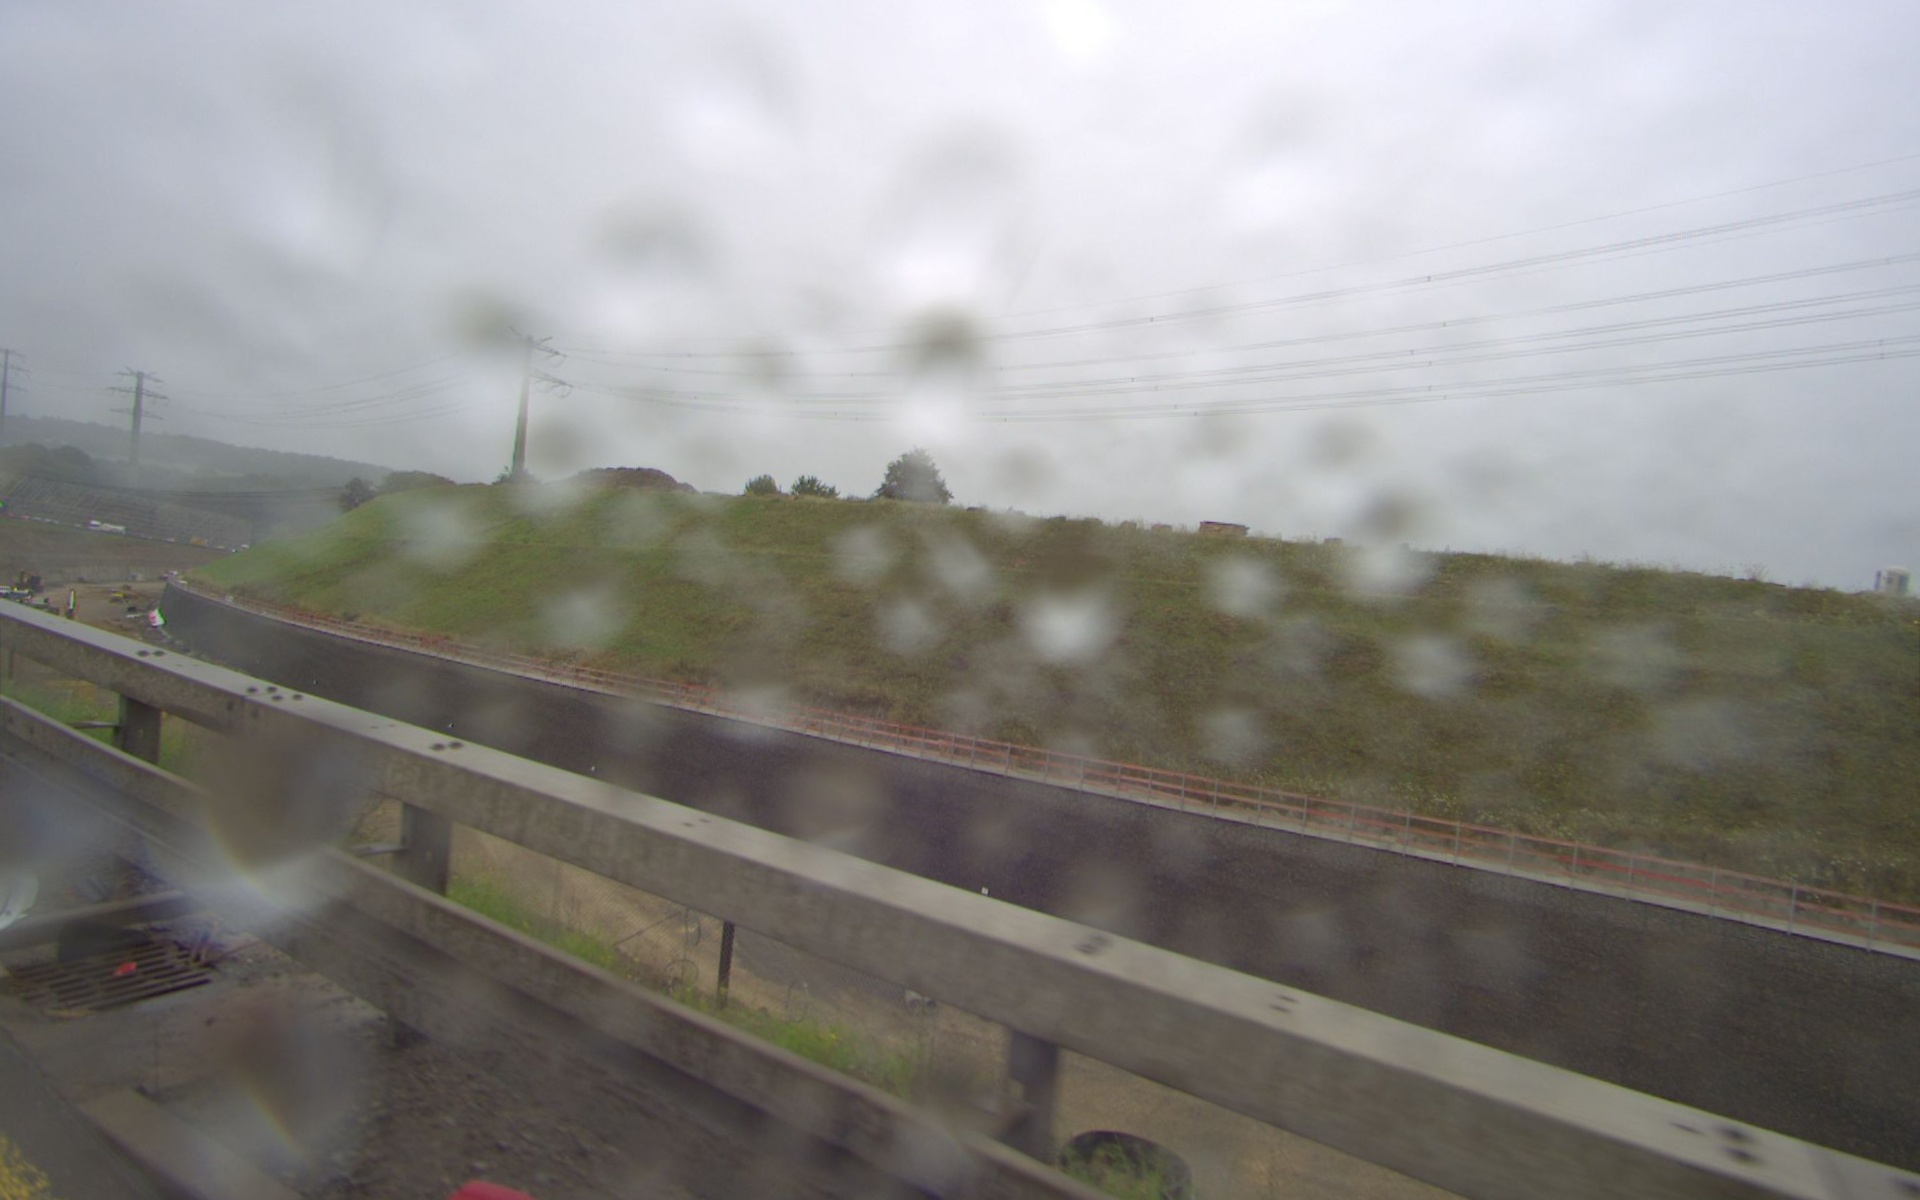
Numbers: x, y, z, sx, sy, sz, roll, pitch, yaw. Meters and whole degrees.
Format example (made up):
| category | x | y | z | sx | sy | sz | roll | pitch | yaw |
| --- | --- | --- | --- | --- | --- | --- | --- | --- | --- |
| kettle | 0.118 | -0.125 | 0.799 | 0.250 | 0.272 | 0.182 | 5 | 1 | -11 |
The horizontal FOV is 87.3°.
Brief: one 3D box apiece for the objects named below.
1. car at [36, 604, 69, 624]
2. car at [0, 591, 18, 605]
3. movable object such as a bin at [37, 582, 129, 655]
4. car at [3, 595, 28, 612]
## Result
| category | x | y | z | sx | sy | sz | roll | pitch | yaw |
| --- | --- | --- | --- | --- | --- | --- | --- | --- | --- |
| car | -116.996 | 1.776 | 129.660 | 3.940 | 2.036 | 2.367 | 6 | -2 | 37 |
| car | -167.772 | -0.341 | 177.353 | 1.986 | 2.036 | 3.957 | 9 | -2 | -39 |
| movable object such as a bin | -56.887 | 1.210 | 65.276 | 4.057 | 3.910 | 3.220 | 8 | -2 | 35 |
| car | -131.388 | 0.444 | 139.959 | 3.942 | 1.837 | 1.993 | 6 | -2 | 40 |
